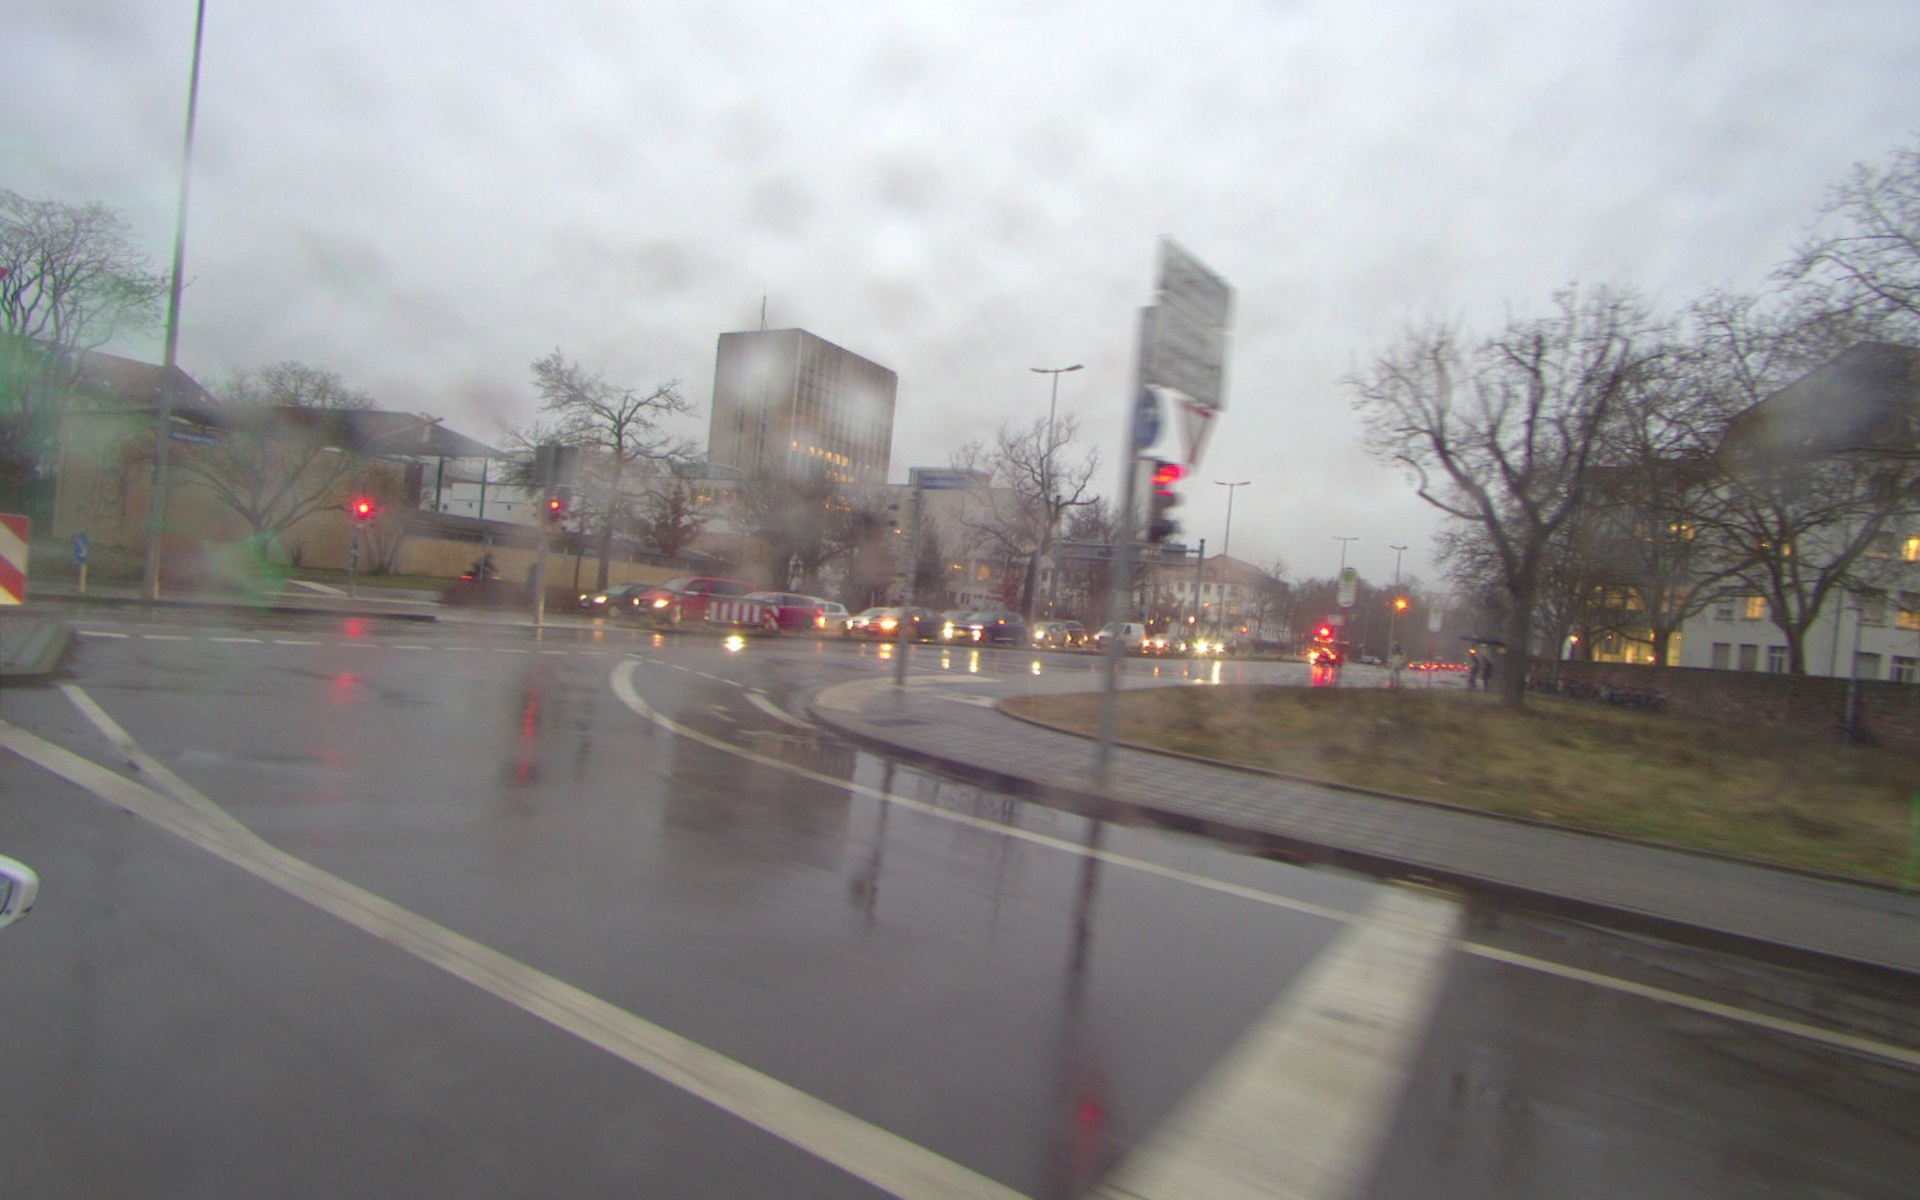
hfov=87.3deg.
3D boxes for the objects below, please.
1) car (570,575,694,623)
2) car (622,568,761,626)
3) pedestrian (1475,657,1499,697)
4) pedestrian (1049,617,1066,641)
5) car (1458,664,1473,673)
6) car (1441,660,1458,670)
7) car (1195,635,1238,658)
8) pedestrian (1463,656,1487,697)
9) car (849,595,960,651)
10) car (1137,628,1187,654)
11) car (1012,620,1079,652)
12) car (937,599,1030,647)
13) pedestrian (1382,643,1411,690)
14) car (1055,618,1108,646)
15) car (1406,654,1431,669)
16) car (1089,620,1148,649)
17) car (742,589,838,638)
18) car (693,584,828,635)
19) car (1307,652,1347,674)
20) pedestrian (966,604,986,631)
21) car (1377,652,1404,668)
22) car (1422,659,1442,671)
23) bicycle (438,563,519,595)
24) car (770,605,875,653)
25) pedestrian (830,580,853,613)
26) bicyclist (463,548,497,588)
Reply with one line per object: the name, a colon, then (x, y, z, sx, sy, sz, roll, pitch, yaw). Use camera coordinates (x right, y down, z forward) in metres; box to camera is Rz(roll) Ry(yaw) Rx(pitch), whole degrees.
car: (-12.915, 0.003, 39.859, 1.746, 1.505, 4.455, 7, 1, 35)
car: (-10.174, -0.063, 38.529, 1.968, 1.772, 4.929, 7, 1, 35)
pedestrian: (25.394, 3.701, 48.478, 0.795, 1.854, 0.945, 7, 2, 31)
pedestrian: (7.947, 2.373, 81.775, 0.919, 1.849, 0.831, 7, 2, 35)
car: (102.989, 13.967, 204.961, 1.969, 1.587, 4.456, 8, 0, 36)
car: (91.263, 12.109, 187.361, 1.969, 1.587, 4.456, 8, 0, 36)
car: (21.737, 3.936, 85.212, 1.968, 1.588, 4.455, 8, 1, 35)
pedestrian: (24.305, 3.592, 47.471, 0.795, 1.854, 0.945, 7, 2, 31)
car: (-2.217, 0.980, 41.370, 1.968, 1.773, 4.455, 14, 5, 34)
car: (15.343, 3.119, 76.137, 1.968, 1.588, 4.455, 8, 1, 35)
car: (5.221, 2.199, 60.815, 1.968, 1.587, 4.455, 7, 1, 35)
car: (1.133, 1.077, 46.199, 1.968, 1.772, 4.455, 9, 2, 35)
pedestrian: (18.222, 2.764, 41.983, 0.795, 1.854, 0.945, 7, 2, 31)
car: (8.528, 2.260, 70.324, 1.968, 1.688, 3.986, 7, 1, 35)
car: (59.260, 7.942, 129.903, 1.969, 1.587, 4.456, 8, 0, 36)
car: (10.780, 2.382, 68.251, 1.968, 1.588, 4.746, 8, 1, 35)
car: (-7.829, 0.661, 46.589, 1.970, 1.861, 3.985, 6, 0, 37)
car: (-6.862, 0.377, 35.027, 1.901, 1.393, 4.483, 7, 1, 35)
car: (32.053, 5.518, 87.799, 1.969, 1.587, 4.456, 8, 0, 36)
pedestrian: (1.143, 1.256, 72.016, 0.919, 1.849, 0.831, 7, 2, 35)
car: (51.857, 7.203, 121.196, 1.968, 1.587, 4.457, 8, 0, 35)
car: (75.696, 10.456, 161.419, 1.969, 1.587, 4.456, 8, 0, 36)
bicycle: (-19.856, -0.864, 41.542, 0.784, 1.028, 2.886, 7, 1, 43)
car: (-6.023, 1.305, 44.421, 1.968, 1.772, 4.455, 7, 1, 35)
pedestrian: (-7.154, -0.201, 60.888, 0.919, 1.849, 0.831, 7, 2, 35)
bicyclist: (-19.821, -1.315, 41.527, 0.757, 1.509, 0.988, 7, 2, 44)
